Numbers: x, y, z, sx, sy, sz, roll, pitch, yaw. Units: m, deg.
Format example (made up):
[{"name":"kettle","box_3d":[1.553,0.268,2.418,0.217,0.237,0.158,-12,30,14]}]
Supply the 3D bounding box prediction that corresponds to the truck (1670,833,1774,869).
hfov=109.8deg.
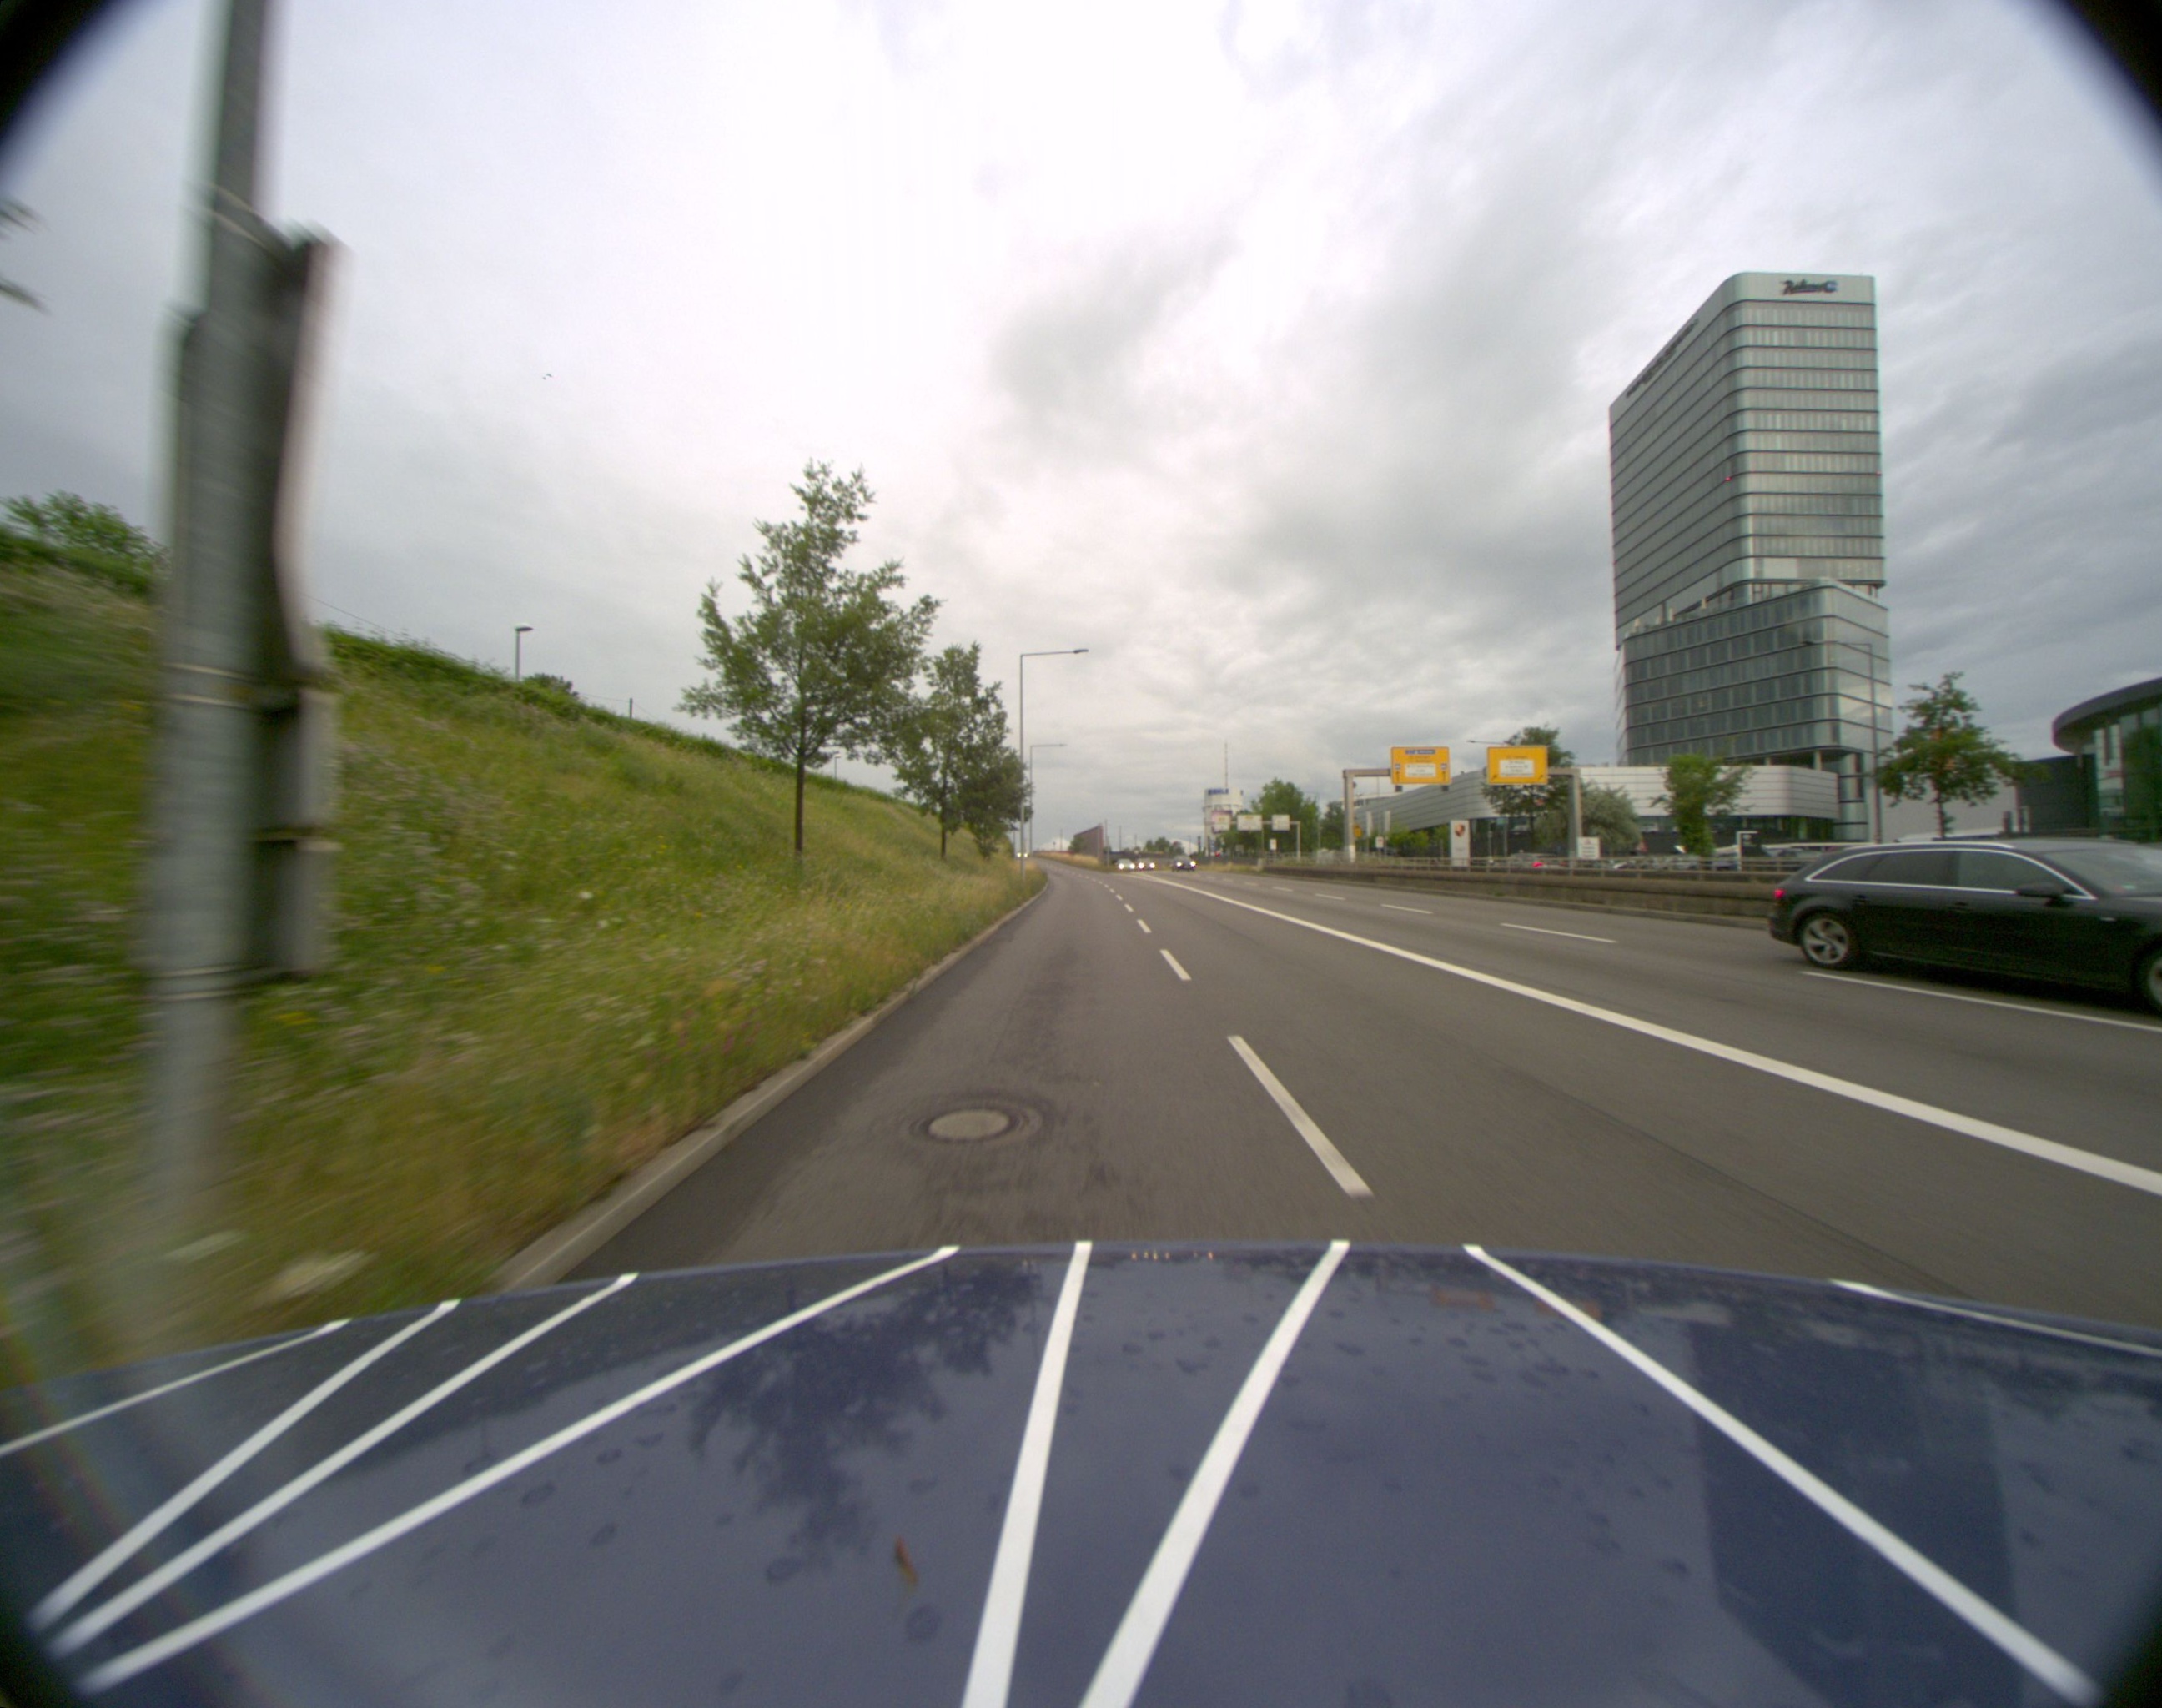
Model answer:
[{"name":"truck","box_3d":[52.063,-0.122,62.029,2.371,2.512,7.416,-3,-2,3]}]

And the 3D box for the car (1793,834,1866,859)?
[{"name":"car","box_3d":[58.003,-0.565,58.979,1.921,1.673,4.003,-3,-2,6]}]

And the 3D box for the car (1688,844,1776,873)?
[{"name":"car","box_3d":[42.471,0.337,49.662,3.996,1.673,1.924,-3,-2,1]}]

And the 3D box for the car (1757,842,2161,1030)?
[{"name":"car","box_3d":[9.061,0.607,6.888,1.814,1.411,4.631,0,1,1]}]

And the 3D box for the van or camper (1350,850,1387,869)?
[{"name":"van or camper","box_3d":[27.264,0.555,72.161,1.869,1.647,3.949,-2,-2,-3]}]

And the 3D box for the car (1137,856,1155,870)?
[{"name":"car","box_3d":[8.178,1.124,96.248,1.872,1.622,3.999,-1,0,0]}]

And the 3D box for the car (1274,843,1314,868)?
[{"name":"car","box_3d":[14.970,0.133,53.662,1.692,1.580,3.550,-2,-2,-1]}]

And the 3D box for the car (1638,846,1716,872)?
[{"name":"car","box_3d":[42.651,0.380,54.429,3.996,1.673,1.924,-3,-2,1]}]

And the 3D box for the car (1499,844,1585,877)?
[{"name":"car","box_3d":[23.627,0.284,39.103,1.999,1.576,3.999,0,1,0]}]

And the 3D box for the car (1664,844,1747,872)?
[{"name":"car","box_3d":[42.695,0.277,52.007,3.996,1.673,1.924,-3,-2,1]}]

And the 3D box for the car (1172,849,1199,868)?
[{"name":"car","box_3d":[9.754,0.413,71.222,1.872,1.622,3.999,-1,0,-1]}]

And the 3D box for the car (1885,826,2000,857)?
[{"name":"car","box_3d":[59.037,-0.797,52.283,1.997,1.870,5.539,-3,-1,6]}]

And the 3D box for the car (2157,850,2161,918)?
[{"name":"car","box_3d":[25.738,0.692,15.507,1.998,1.575,4.001,0,0,5]}]

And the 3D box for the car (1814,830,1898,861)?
[{"name":"car","box_3d":[53.469,-0.565,52.523,1.905,1.870,4.004,-3,-2,6]}]

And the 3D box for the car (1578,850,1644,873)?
[{"name":"car","box_3d":[42.780,0.604,61.357,4.010,1.590,1.700,-3,-2,1]}]

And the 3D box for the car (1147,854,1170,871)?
[{"name":"car","box_3d":[8.125,0.859,79.767,1.872,1.622,3.999,-1,0,-1]}]

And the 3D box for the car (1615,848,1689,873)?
[{"name":"car","box_3d":[42.678,0.490,56.851,3.996,1.673,1.924,-3,-2,1]}]

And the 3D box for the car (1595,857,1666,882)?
[{"name":"car","box_3d":[42.770,1.217,59.187,3.996,1.673,1.924,-3,-2,1]}]

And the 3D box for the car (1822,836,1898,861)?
[{"name":"car","box_3d":[60.177,-0.384,58.812,1.921,1.673,4.003,-3,-2,6]}]

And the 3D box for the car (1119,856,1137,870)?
[{"name":"car","box_3d":[5.624,1.036,91.150,1.872,1.622,3.999,-1,0,0]}]

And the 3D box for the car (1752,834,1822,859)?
[{"name":"car","box_3d":[55.158,-0.540,59.504,1.921,1.673,4.003,-3,-2,6]}]
